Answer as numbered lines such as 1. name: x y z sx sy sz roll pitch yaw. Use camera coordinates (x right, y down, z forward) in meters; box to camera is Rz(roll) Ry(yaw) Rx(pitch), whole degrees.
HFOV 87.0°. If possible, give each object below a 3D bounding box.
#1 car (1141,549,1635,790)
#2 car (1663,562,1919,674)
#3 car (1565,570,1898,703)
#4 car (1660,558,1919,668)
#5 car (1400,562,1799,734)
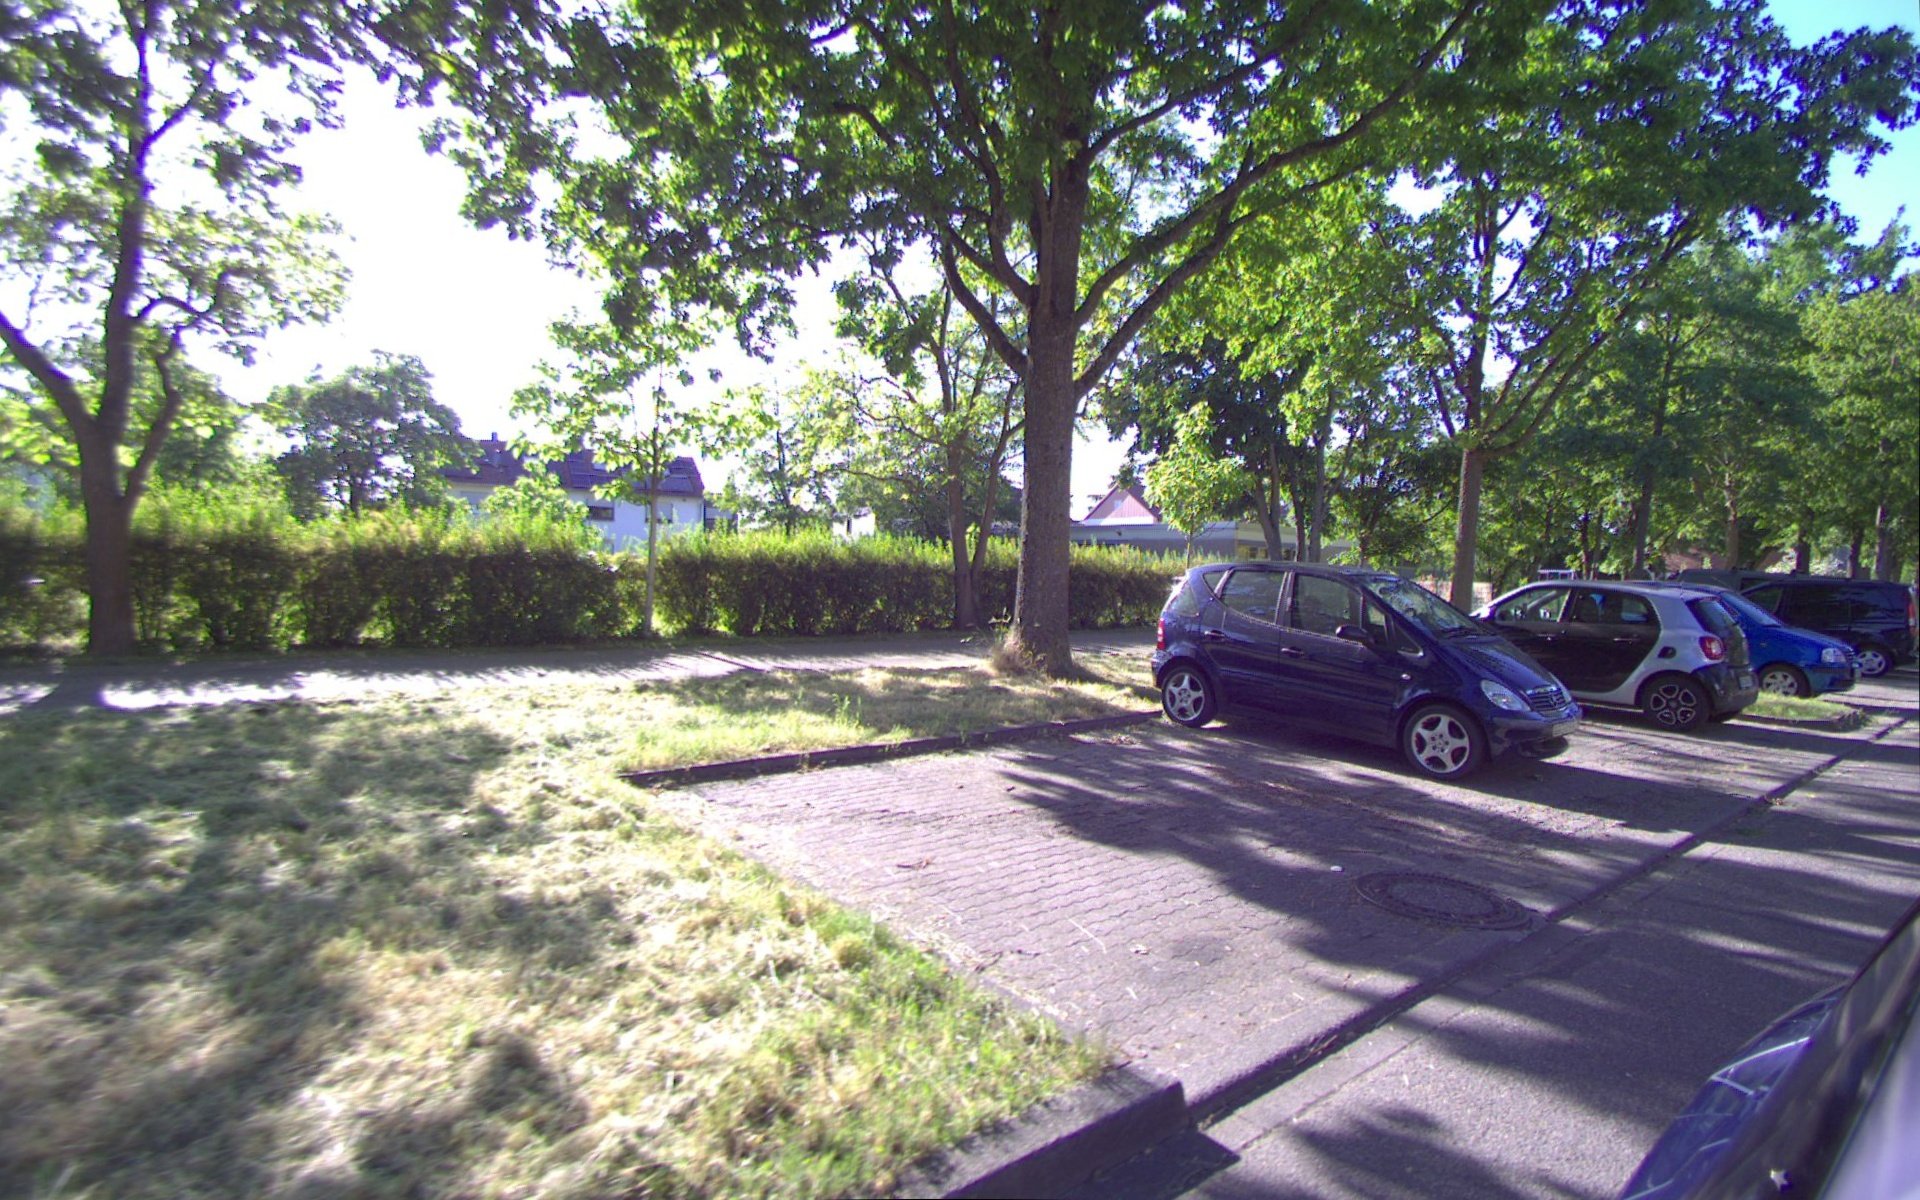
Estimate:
1. car: 3.633 0.415 9.038 1.825 1.595 3.591 0 4 -41
2. car: 16.622 0.267 20.100 1.769 1.859 4.015 0 4 -43
3. car: 11.131 0.425 14.788 1.635 1.550 3.531 0 4 -39
4. car: 18.293 0.203 21.890 1.910 2.056 4.813 0 3 -41
5. car: 7.438 0.423 12.045 1.754 1.595 3.593 0 4 -39
